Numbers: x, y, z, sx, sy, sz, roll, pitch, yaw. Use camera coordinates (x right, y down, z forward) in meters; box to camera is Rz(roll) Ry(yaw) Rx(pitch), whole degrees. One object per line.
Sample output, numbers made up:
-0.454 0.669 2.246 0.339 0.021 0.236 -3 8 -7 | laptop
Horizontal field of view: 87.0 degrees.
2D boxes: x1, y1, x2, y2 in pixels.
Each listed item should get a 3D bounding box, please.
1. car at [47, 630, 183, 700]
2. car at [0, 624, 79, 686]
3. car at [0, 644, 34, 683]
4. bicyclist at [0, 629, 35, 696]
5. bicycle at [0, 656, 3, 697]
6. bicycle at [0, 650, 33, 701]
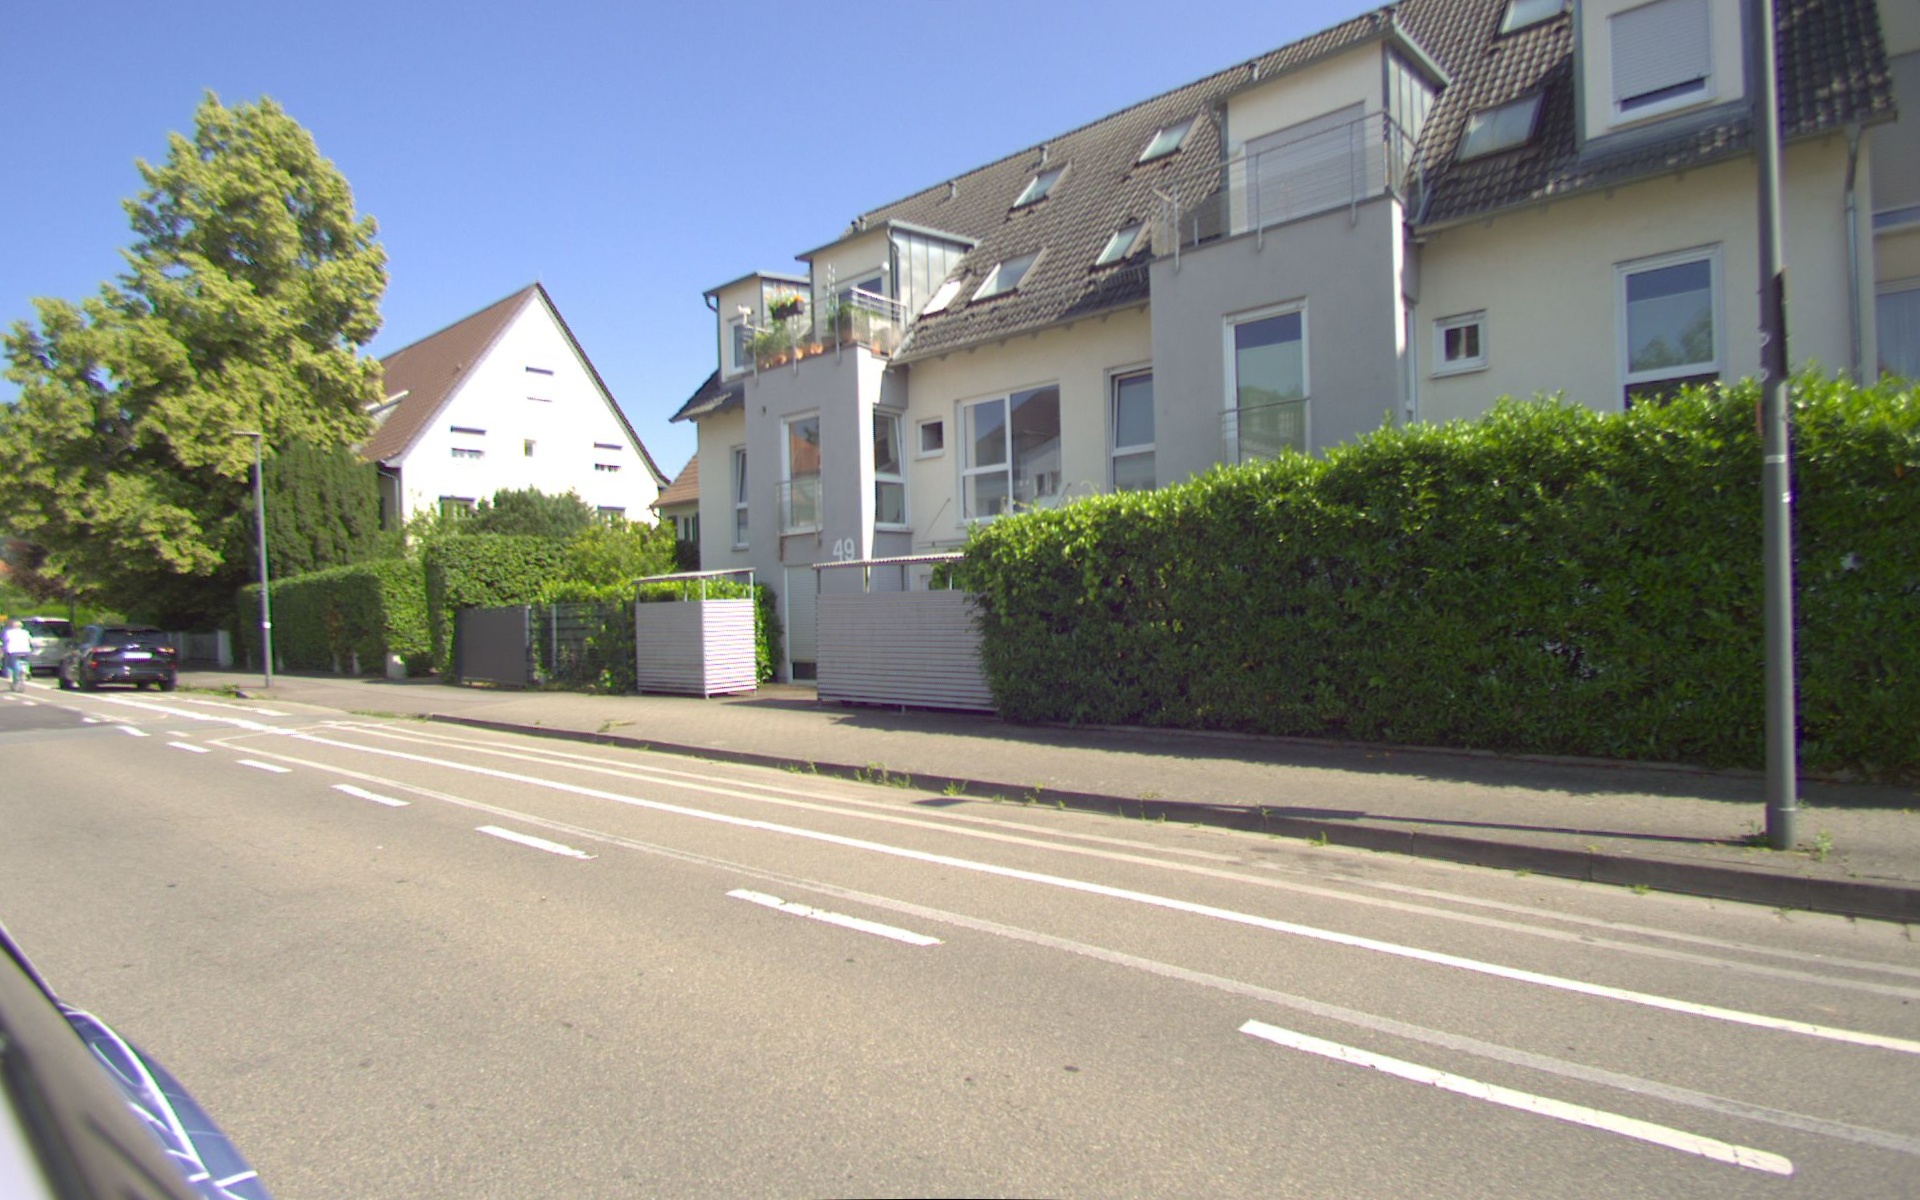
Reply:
-21.345 1.579 25.501 4.444 1.623 1.832 -2 -3 40 | car
-31.359 1.841 34.069 4.865 1.934 1.865 -3 -4 41 | car
-38.940 2.549 40.780 4.558 1.497 1.814 -3 -4 40 | car
-23.095 1.508 24.628 0.859 1.592 0.669 -2 -5 40 | bicyclist
-26.589 2.074 27.567 1.345 1.113 0.594 -2 -3 41 | bicycle
-23.310 1.841 24.840 2.034 1.194 0.553 -2 -4 41 | bicycle
